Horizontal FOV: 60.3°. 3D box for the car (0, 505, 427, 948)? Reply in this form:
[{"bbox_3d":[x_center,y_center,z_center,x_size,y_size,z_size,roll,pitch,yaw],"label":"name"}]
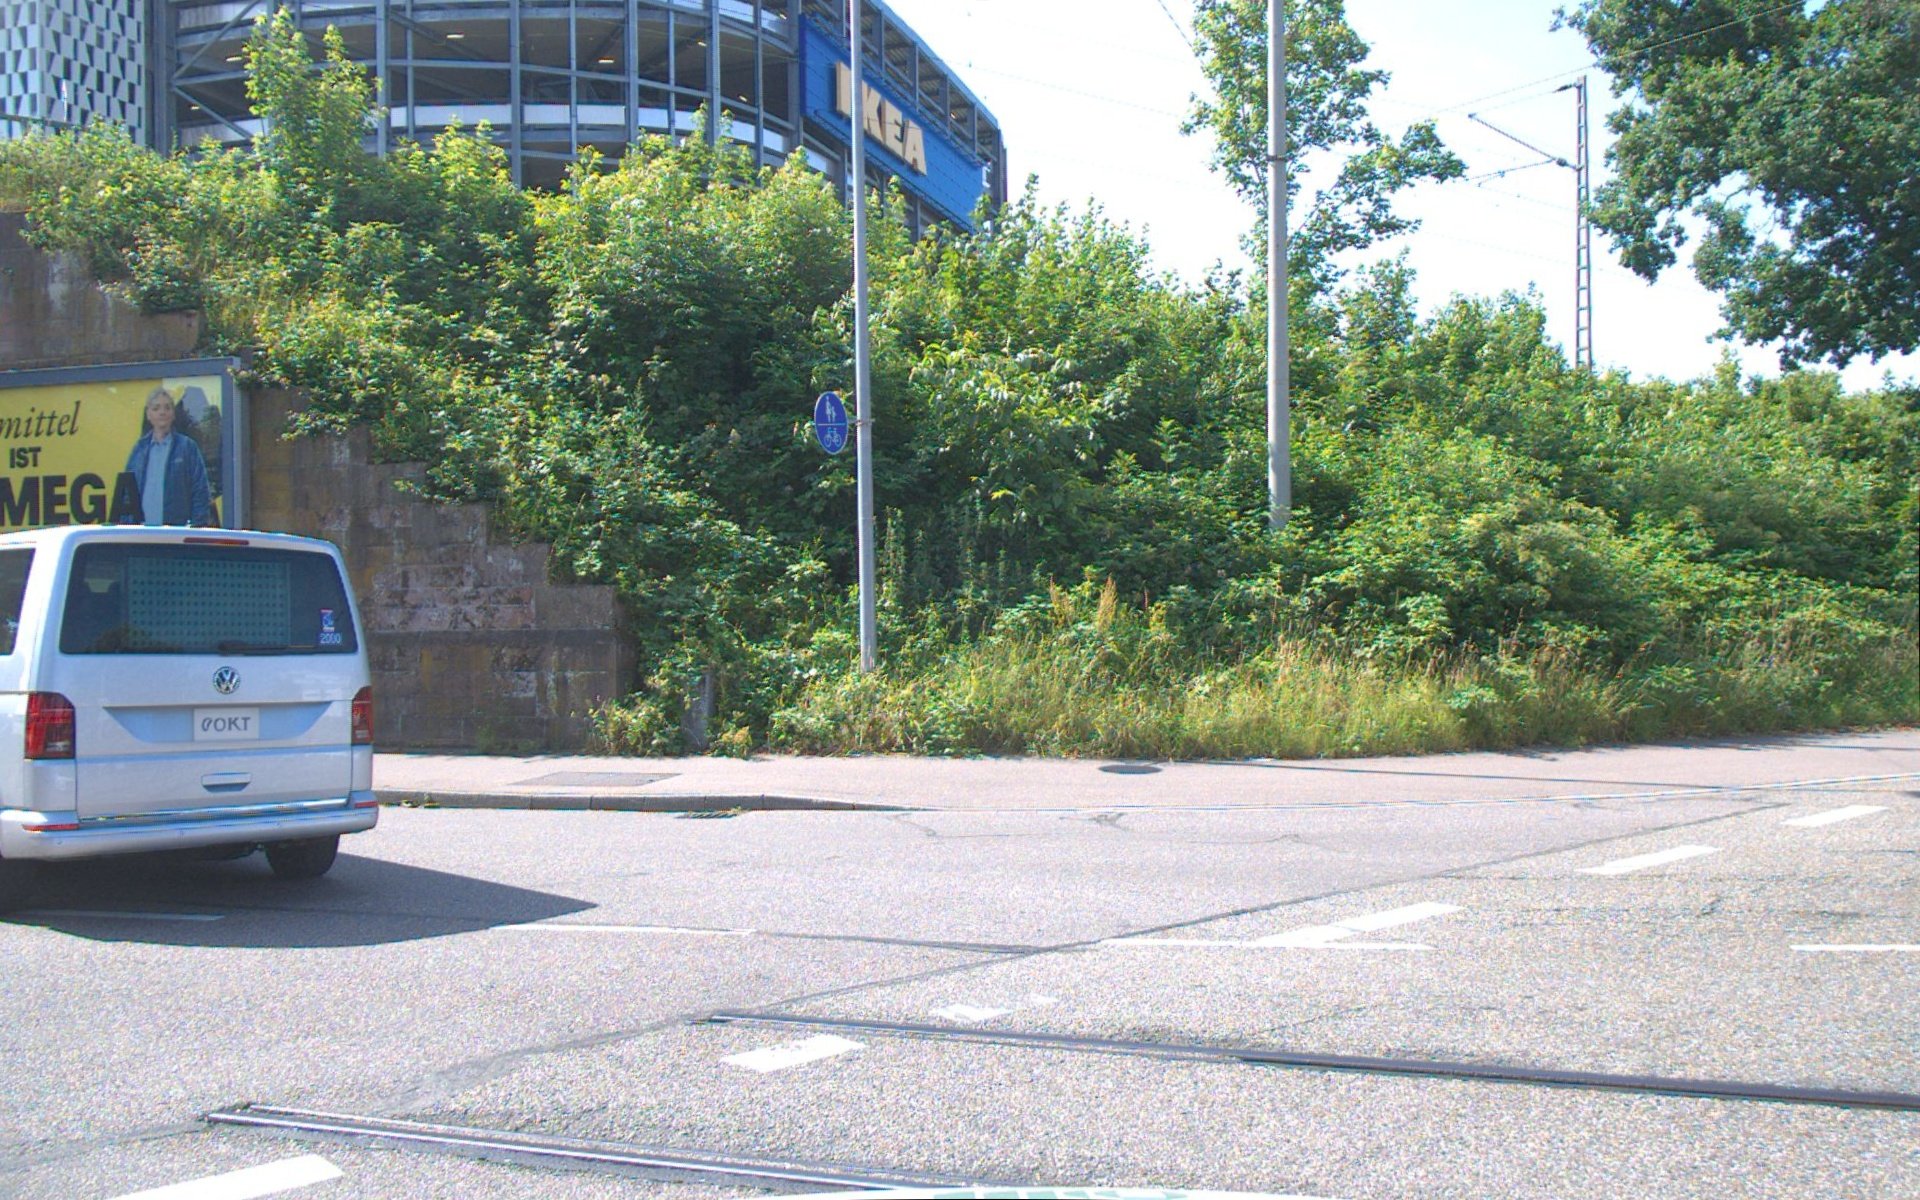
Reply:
[{"bbox_3d":[-5.297,0.615,9.938,4.937,2.006,1.934,-1,-1,44],"label":"car"}]
